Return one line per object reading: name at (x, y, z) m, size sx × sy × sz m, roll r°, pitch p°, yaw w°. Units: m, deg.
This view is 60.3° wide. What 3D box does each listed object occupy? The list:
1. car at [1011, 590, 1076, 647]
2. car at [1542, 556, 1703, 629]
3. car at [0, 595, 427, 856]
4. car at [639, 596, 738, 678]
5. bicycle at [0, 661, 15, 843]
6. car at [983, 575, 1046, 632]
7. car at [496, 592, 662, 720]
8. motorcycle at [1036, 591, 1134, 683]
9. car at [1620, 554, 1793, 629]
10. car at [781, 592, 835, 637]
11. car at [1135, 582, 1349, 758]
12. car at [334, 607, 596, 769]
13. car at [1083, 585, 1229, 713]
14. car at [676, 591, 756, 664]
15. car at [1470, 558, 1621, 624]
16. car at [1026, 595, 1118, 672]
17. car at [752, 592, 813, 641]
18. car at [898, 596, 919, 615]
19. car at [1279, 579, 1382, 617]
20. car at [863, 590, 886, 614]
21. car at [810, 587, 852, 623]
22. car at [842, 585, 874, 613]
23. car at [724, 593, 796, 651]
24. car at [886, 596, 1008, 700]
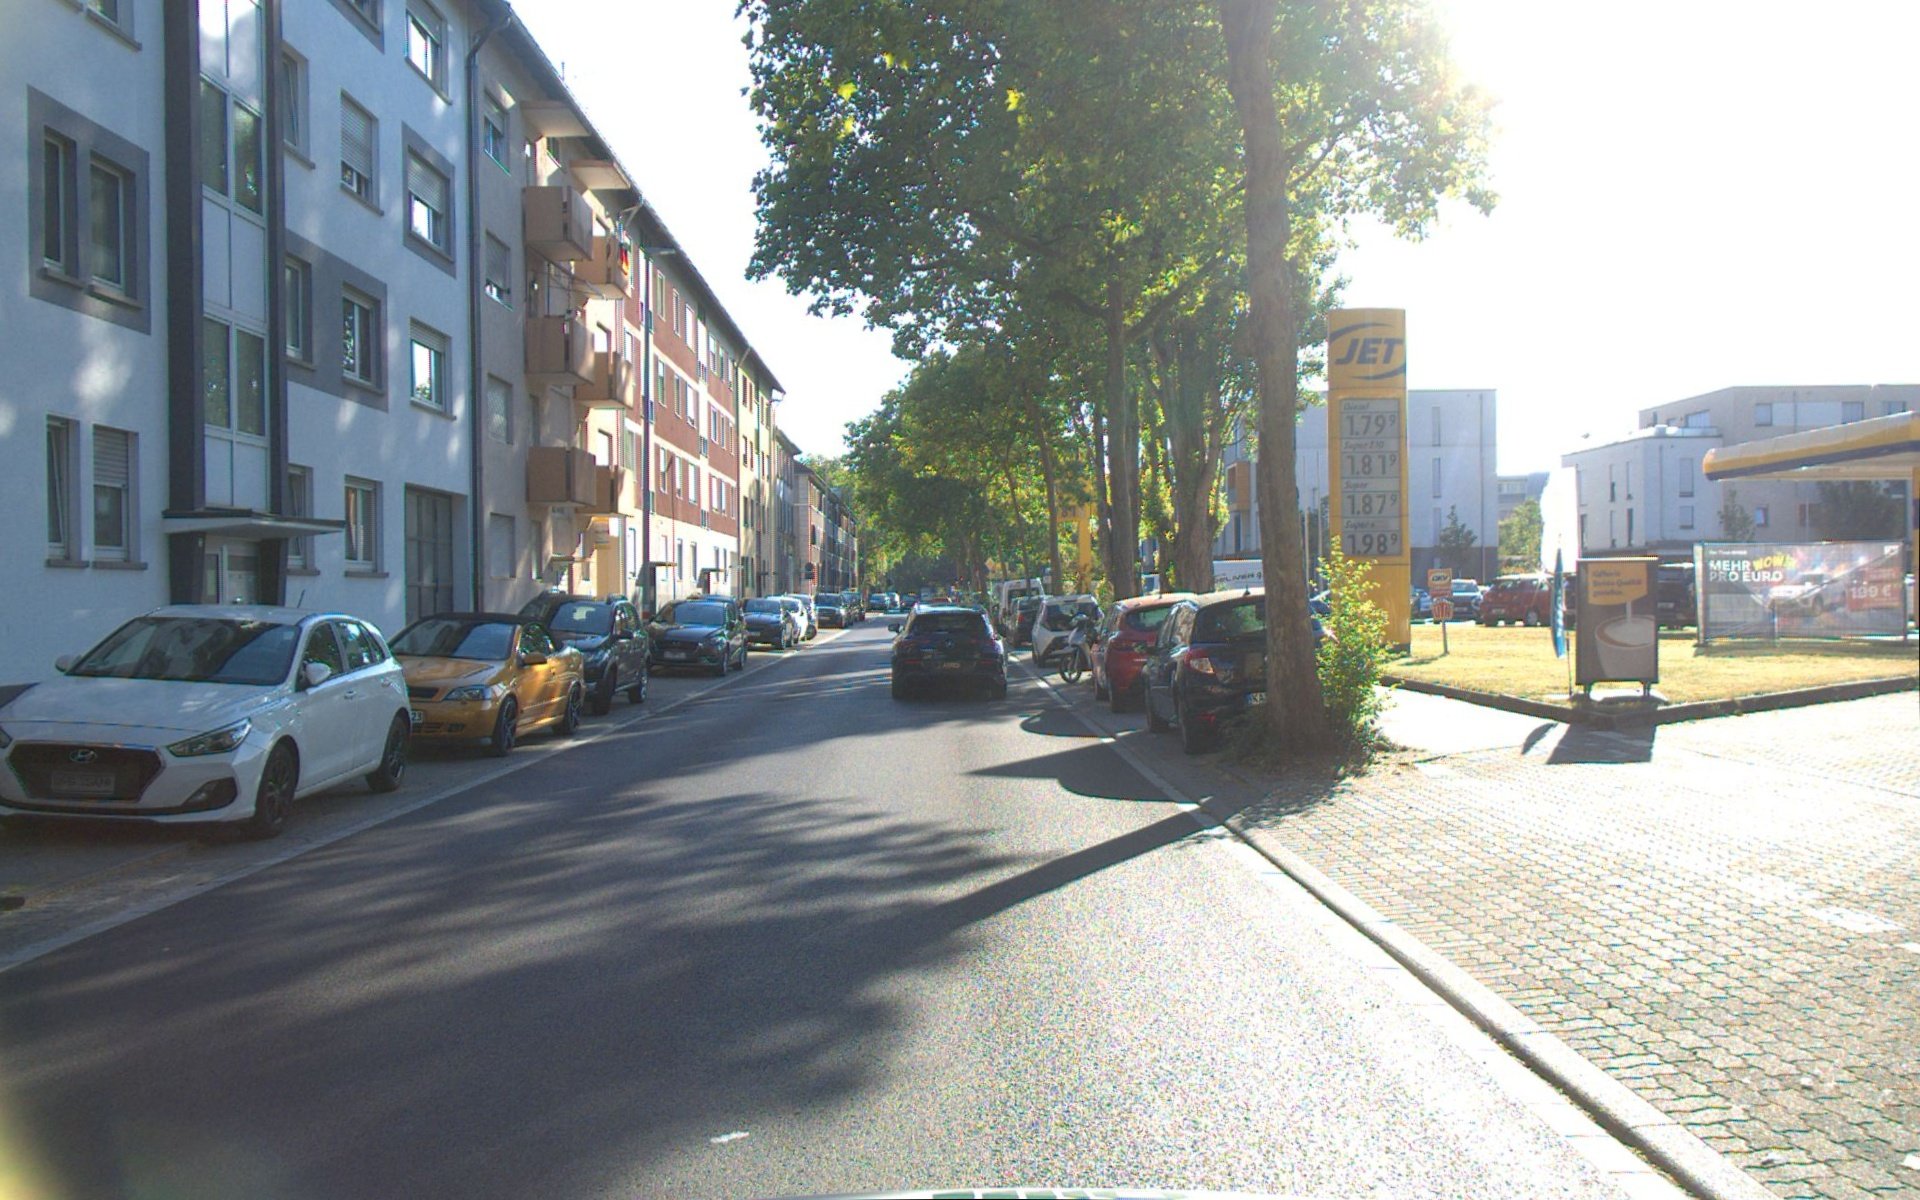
car at (2.408, 0.516, 48.438) m, size 1.600 × 1.585 × 3.600 m, roll 1°, pitch 0°, yaw -1°
car at (17.065, -0.210, 42.604) m, size 3.781 × 1.741 × 1.824 m, roll -2°, pitch 0°, yaw -28°
car at (-5.261, 0.761, 12.065) m, size 1.516 × 1.550 × 4.004 m, roll 1°, pitch 0°, yaw -1°
car at (-5.552, 0.726, 34.198) m, size 1.679 × 1.490 × 3.793 m, roll 3°, pitch 0°, yaw -5°
bicycle at (-6.267, 0.950, 9.462) m, size 0.544 × 1.105 × 1.715 m, roll -1°, pitch 0°, yaw 8°
car at (1.998, 0.160, 61.675) m, size 1.954 × 2.049 × 3.997 m, roll 0°, pitch -1°, yaw -4°
car at (-5.405, 0.736, 23.869) m, size 1.564 × 1.658 × 3.837 m, roll 1°, pitch 0°, yaw -1°
motorcycle at (2.208, 0.649, 29.147) m, size 1.619 × 1.585 × 0.607 m, roll 1°, pitch 0°, yaw -22°
car at (17.251, -0.207, 38.212) m, size 3.781 × 1.616 × 1.683 m, roll -2°, pitch 0°, yaw -28°
car at (-5.746, 0.527, 62.939) m, size 1.677 × 1.589 × 3.801 m, roll 3°, pitch 0°, yaw 0°
car at (2.825, 0.656, 17.261) m, size 1.528 × 1.624 × 3.600 m, roll 1°, pitch 0°, yaw -1°
car at (-5.176, 0.848, 17.857) m, size 1.564 × 1.459 × 4.217 m, roll 1°, pitch 0°, yaw 0°
car at (2.665, 0.637, 23.157) m, size 1.528 × 1.624 × 3.600 m, roll 1°, pitch 0°, yaw -1°
car at (-5.942, 0.638, 40.632) m, size 1.679 × 1.589 × 3.793 m, roll 3°, pitch 0°, yaw -5°
car at (16.784, -0.260, 47.431) m, size 3.767 × 1.741 × 1.831 m, roll -2°, pitch 0°, yaw -19°
car at (2.412, 0.706, 36.377) m, size 1.687 × 1.585 × 3.600 m, roll 1°, pitch 0°, yaw -1°
car at (-6.205, 0.542, 58.072) m, size 1.677 × 1.589 × 3.801 m, roll 3°, pitch 0°, yaw 0°
car at (-4.633, 0.528, 149.779) m, size 1.863 × 1.690 × 3.999 m, roll 0°, pitch -1°, yaw -1°
car at (15.541, -0.064, 69.470) m, size 3.907 × 1.556 × 1.806 m, roll 0°, pitch -1°, yaw -2°
car at (-7.513, 0.189, 145.232) m, size 1.868 × 1.982 × 3.999 m, roll 0°, pitch -1°, yaw -1°
car at (-6.197, 0.222, 79.700) m, size 1.677 × 1.589 × 3.801 m, roll 3°, pitch 0°, yaw 0°
car at (-6.206, -0.050, 100.803) m, size 1.677 × 1.589 × 3.801 m, roll 3°, pitch 0°, yaw 0°
car at (-6.023, 0.628, 50.149) m, size 1.677 × 1.589 × 3.801 m, roll 3°, pitch 0°, yaw 0°
car at (-0.137, 0.694, 26.197) m, size 1.708 × 1.468 × 3.970 m, roll 1°, pitch 0°, yaw 2°
